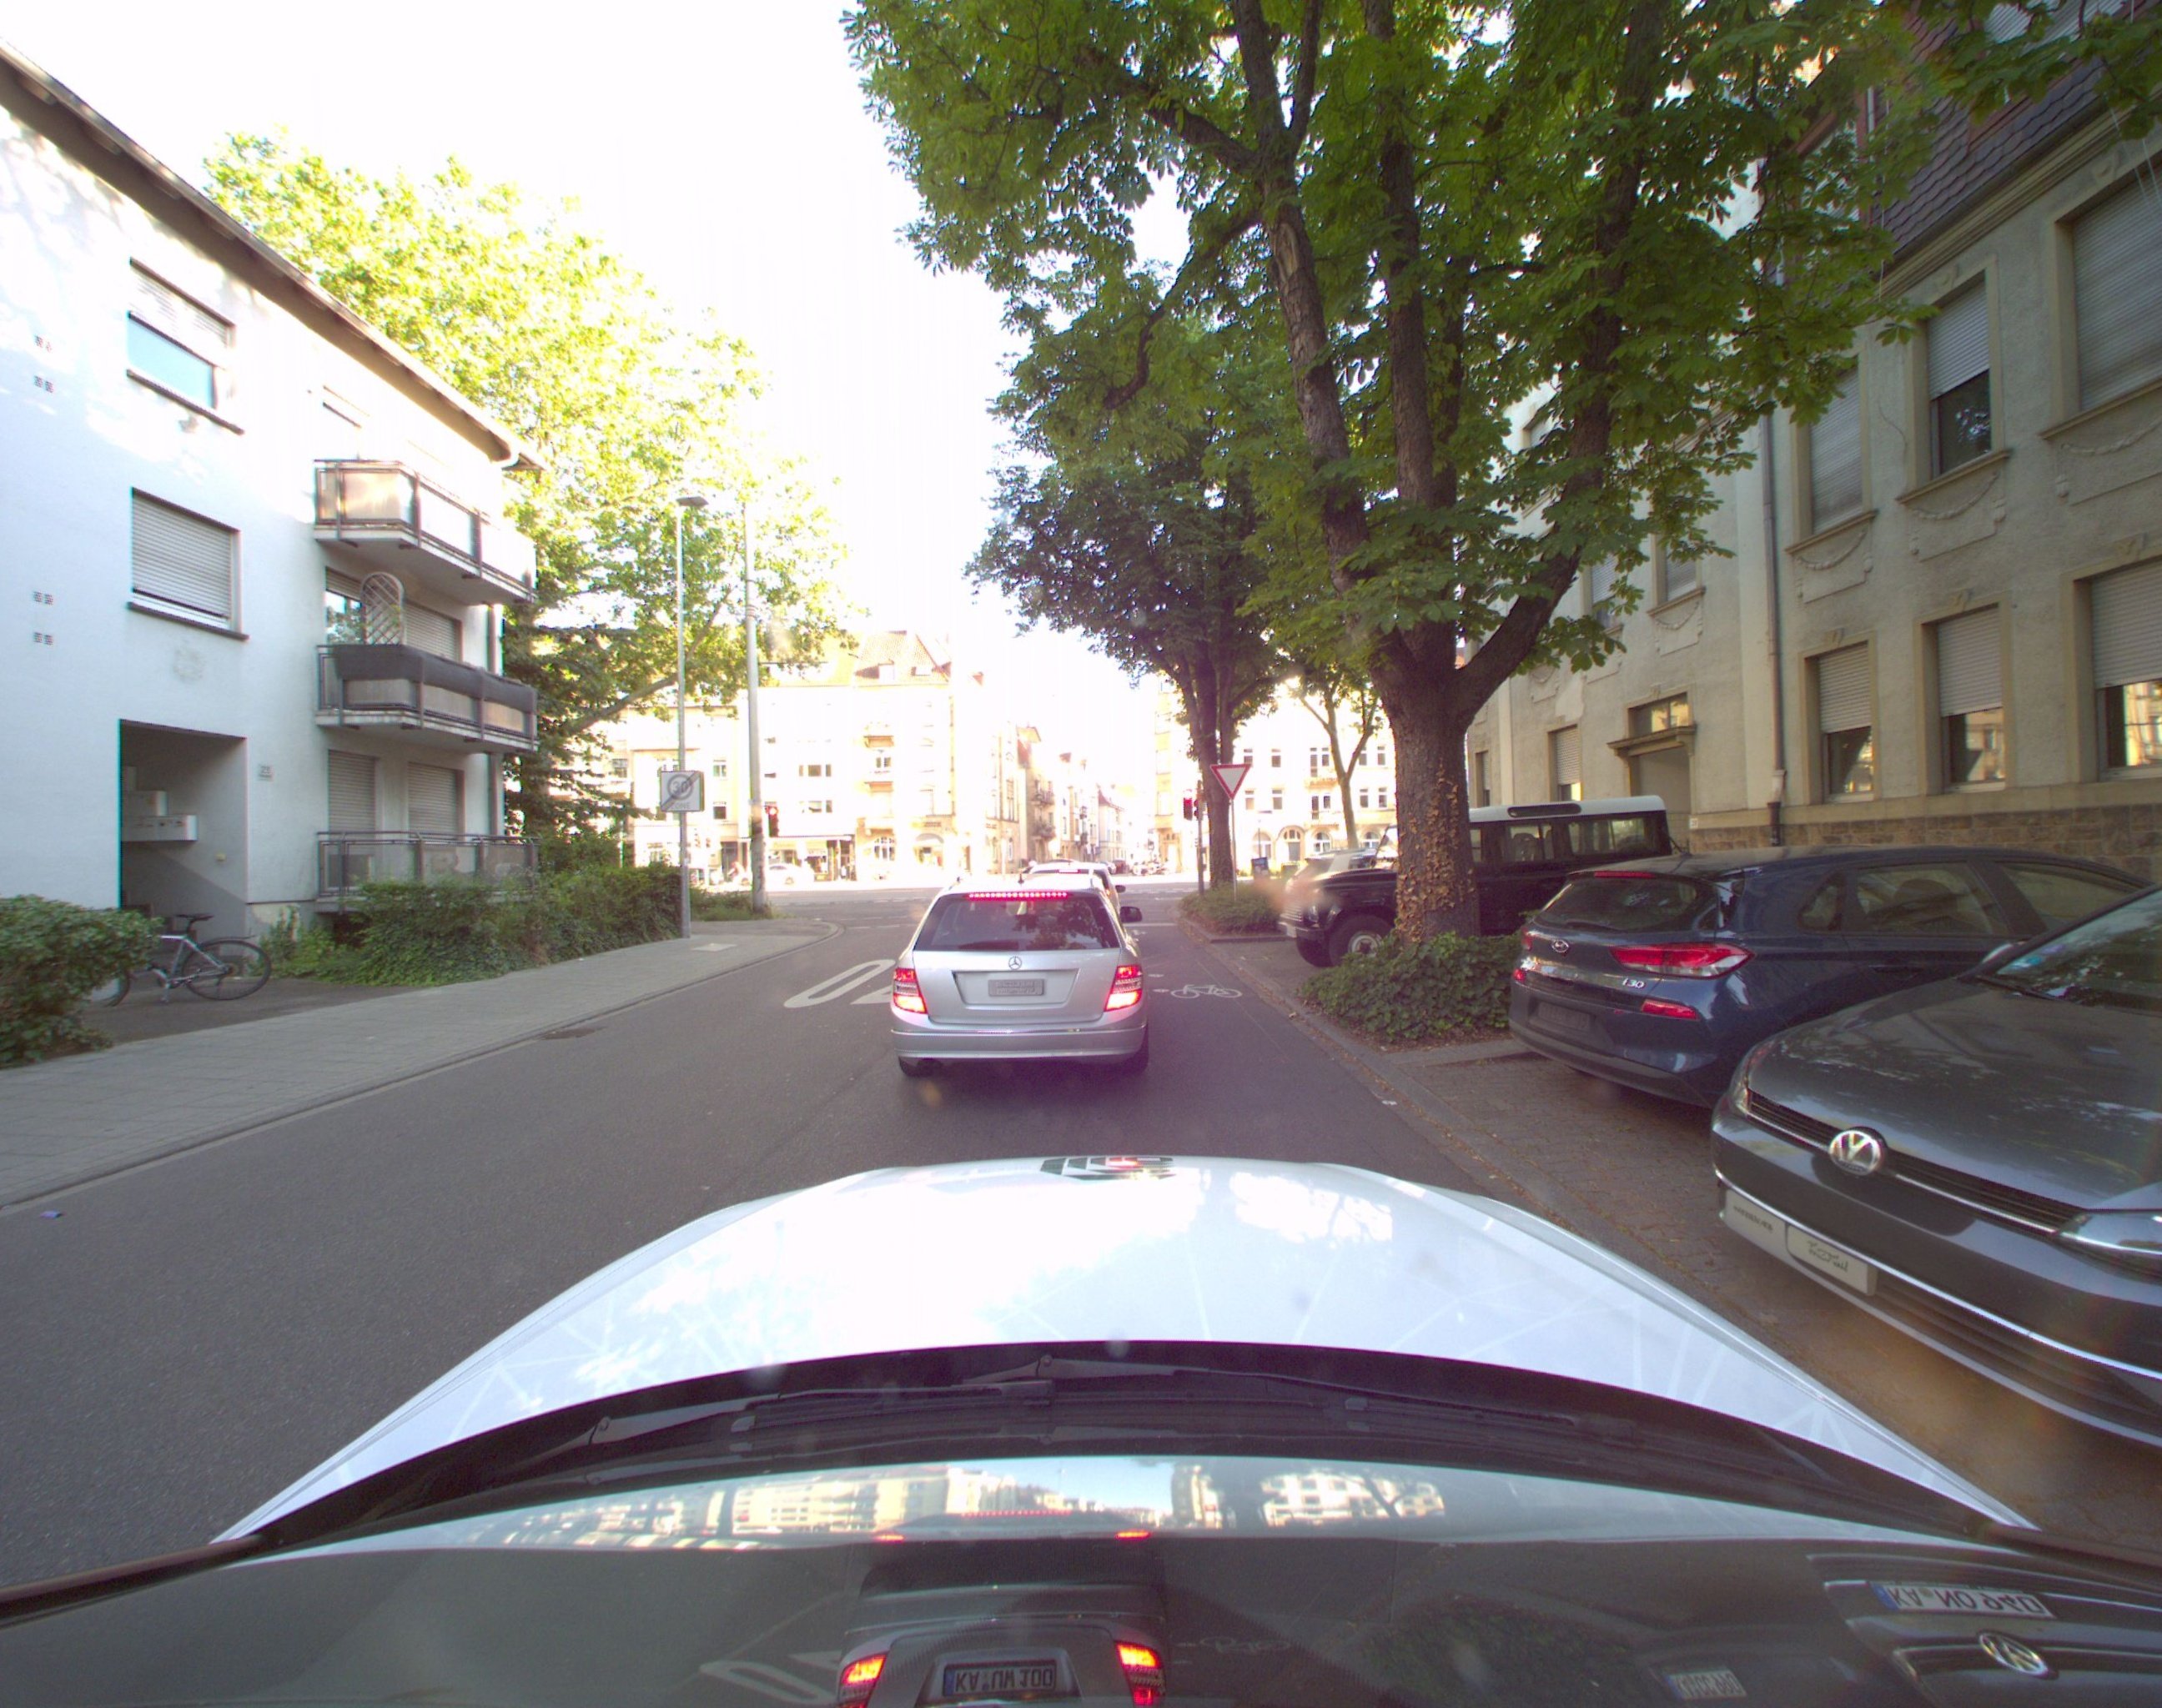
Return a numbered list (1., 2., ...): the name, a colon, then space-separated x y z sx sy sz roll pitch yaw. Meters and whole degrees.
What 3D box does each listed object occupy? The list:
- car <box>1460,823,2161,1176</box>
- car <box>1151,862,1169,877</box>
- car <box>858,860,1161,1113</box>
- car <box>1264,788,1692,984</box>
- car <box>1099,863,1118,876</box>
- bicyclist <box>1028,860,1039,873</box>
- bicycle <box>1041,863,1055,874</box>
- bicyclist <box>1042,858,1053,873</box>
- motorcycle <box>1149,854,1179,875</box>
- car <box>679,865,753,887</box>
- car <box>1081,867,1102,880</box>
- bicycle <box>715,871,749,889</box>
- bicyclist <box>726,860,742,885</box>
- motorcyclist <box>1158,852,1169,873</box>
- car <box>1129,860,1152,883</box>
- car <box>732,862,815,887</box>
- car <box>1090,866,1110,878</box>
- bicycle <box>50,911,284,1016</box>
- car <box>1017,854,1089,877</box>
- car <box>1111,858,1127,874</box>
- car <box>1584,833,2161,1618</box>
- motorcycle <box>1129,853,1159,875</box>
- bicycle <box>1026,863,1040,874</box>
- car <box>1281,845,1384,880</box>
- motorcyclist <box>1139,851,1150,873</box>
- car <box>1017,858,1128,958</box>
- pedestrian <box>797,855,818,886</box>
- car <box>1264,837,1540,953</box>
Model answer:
1. car: 4.390 0.630 4.553 3.714 1.452 1.707 -3 -1 -2
2. car: 9.867 1.899 101.856 1.824 1.744 4.012 -1 0 10
3. car: -0.409 0.794 7.081 1.771 1.452 4.547 -1 0 0
4. car: 4.734 0.363 10.127 4.453 2.036 1.700 -3 -1 -2
5. car: 3.698 2.060 108.838 1.824 1.663 4.012 -1 0 10
6. bicyclist: -4.315 1.112 73.723 0.765 1.156 0.755 -1 0 13
7. bicycle: -3.010 1.316 73.700 0.765 0.934 1.947 -1 0 13
8. bicyclist: -3.015 1.023 73.703 0.765 1.290 0.755 -1 0 13
9. motorcycle: 5.905 0.725 58.146 2.028 1.452 0.568 -2 0 -3
10. car: -24.880 1.477 55.602 4.212 1.349 1.662 -1 0 -4
11. car: 1.316 2.296 97.161 1.824 1.402 4.012 -1 0 10
12. bicycle: -25.914 1.919 60.490 2.251 1.246 0.636 -1 0 -3
13. bicyclist: -25.753 1.380 60.493 0.889 1.859 0.636 -1 0 -3
14. motorcyclist: 5.917 0.580 58.147 0.679 1.452 0.568 -2 0 -2
15. car: 6.297 1.809 85.899 2.018 2.279 4.012 -1 0 10
16. car: -19.976 1.330 53.083 4.694 1.460 1.834 -2 0 -4
17. car: 2.387 2.248 102.632 1.824 1.402 4.012 -1 0 10
18. bicycle: -10.002 1.163 9.005 1.630 1.008 0.511 2 -2 -39
19. car: -1.954 0.808 56.927 4.871 1.452 1.857 -1 0 -2
20. car: 5.471 1.712 117.397 1.776 2.204 4.012 -1 0 10
21. car: 4.025 0.646 2.381 4.042 1.452 1.722 -3 -1 -2
22. motorcycle: 4.365 0.668 56.637 2.028 1.452 0.568 -2 0 -3
23. bicycle: -4.332 1.334 73.644 0.765 0.940 1.947 -1 0 13
24. car: 11.831 0.389 38.436 4.338 1.497 1.658 -2 0 -5
25. motorcyclist: 4.414 0.547 56.637 0.679 1.452 0.568 -2 0 -2
26. car: -0.115 0.810 14.169 1.614 1.447 4.344 -1 0 0
27. pedestrian: -21.976 1.288 65.382 1.343 2.464 1.059 -1 0 -3
28. car: 5.023 0.613 13.087 3.714 1.570 1.707 -3 -1 -2
